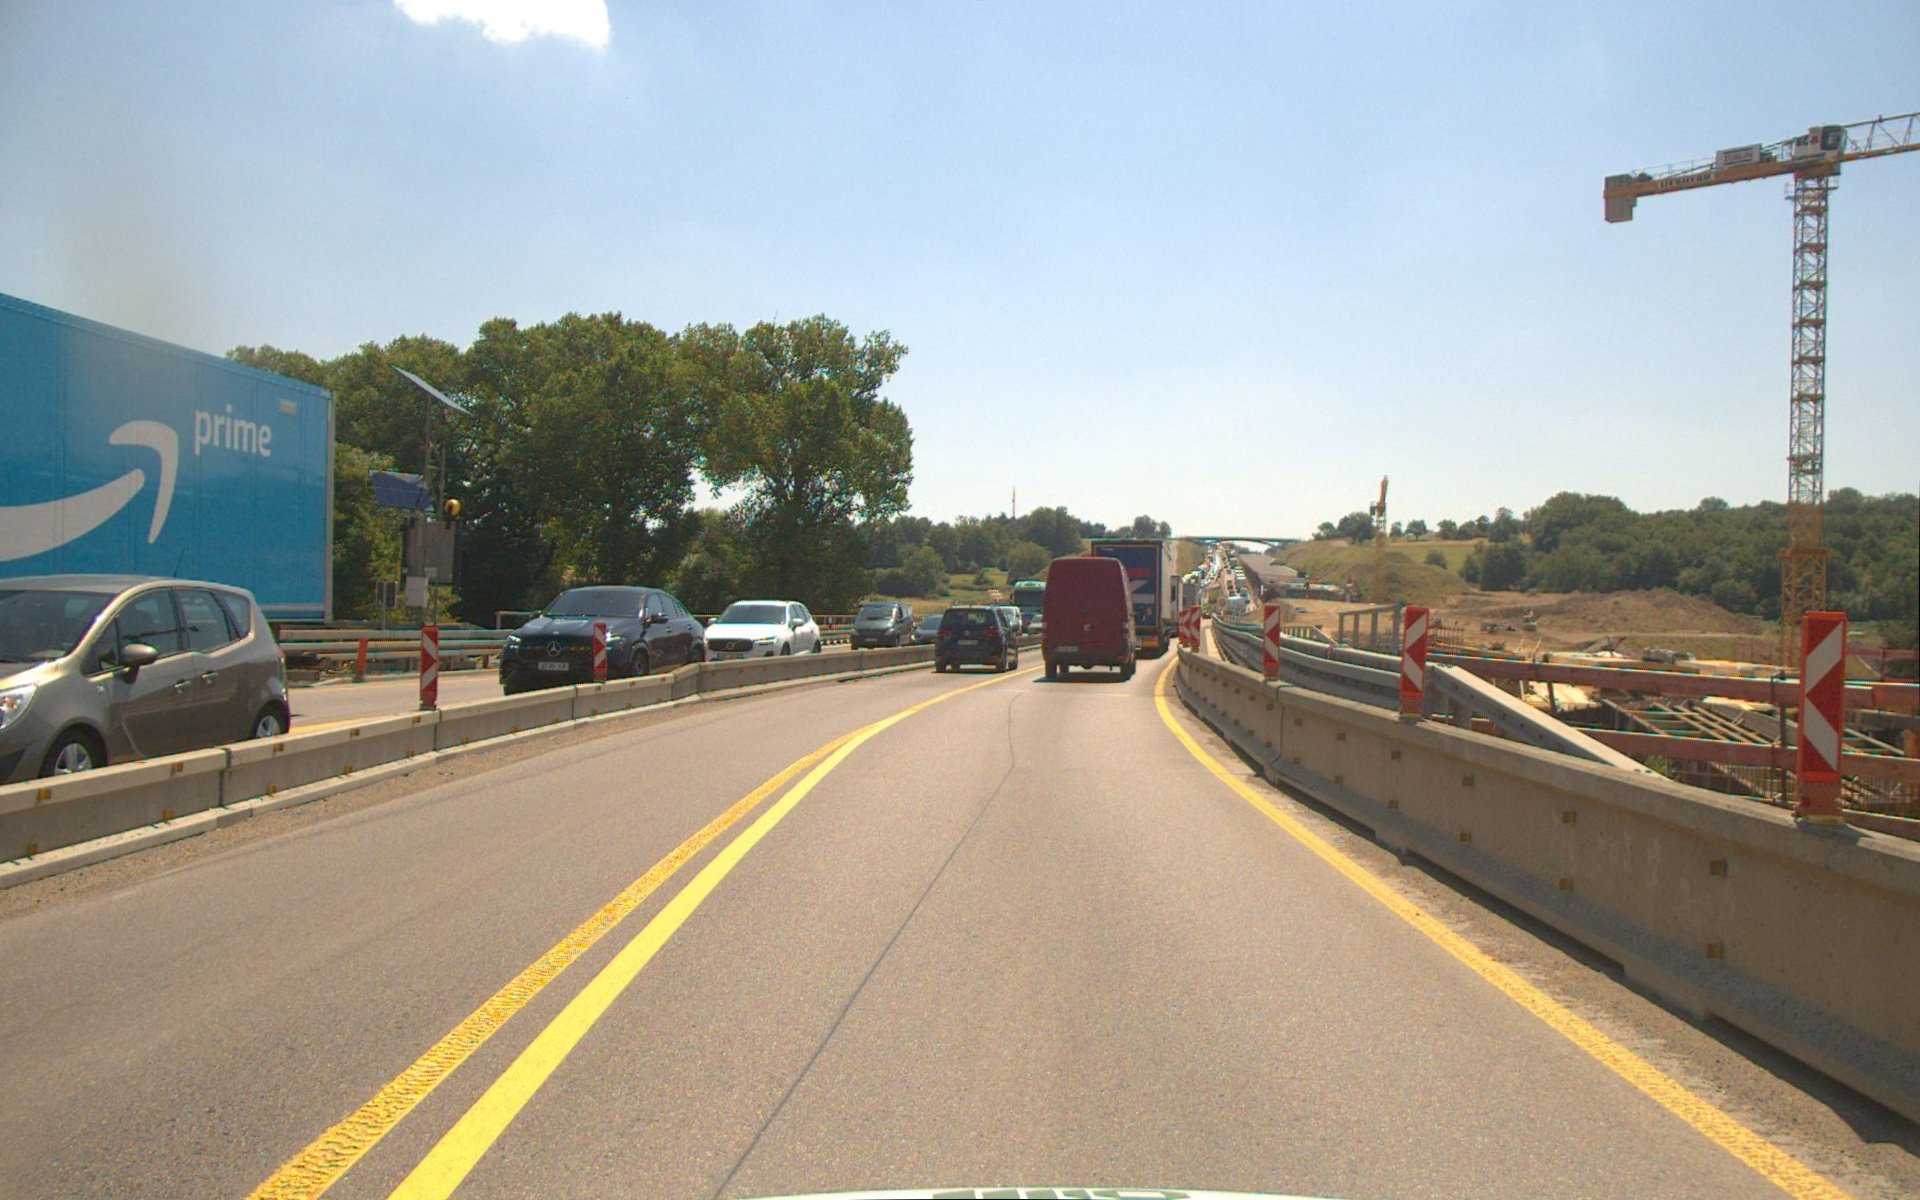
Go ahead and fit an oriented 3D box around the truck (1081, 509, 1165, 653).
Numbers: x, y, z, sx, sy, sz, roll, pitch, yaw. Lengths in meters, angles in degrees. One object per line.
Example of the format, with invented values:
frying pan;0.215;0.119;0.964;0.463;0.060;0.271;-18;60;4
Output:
truck;6.148;-0.639;61.691;2.882;5.032;6.745;1;-1;7

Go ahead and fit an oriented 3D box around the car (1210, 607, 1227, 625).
car;25.082;1.581;160.488;1.583;1.729;3.892;1;-1;8

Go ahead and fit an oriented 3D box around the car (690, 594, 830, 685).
car;-4.140;0.777;34.964;1.781;1.675;4.574;1;1;8

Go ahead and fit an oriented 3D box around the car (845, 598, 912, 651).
car;-3.210;0.969;66.047;1.782;1.977;5.067;1;-1;7

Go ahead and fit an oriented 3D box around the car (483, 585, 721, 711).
car;-5.285;0.688;25.145;1.841;1.676;4.718;1;-1;10

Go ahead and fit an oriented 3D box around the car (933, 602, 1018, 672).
car;0.461;0.933;42.360;1.697;1.664;4.392;1;-1;7

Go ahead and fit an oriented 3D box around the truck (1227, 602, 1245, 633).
truck;37.552;2.423;225.424;2.242;3.805;6.486;1;-4;8

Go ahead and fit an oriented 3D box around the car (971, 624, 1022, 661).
car;1.628;1.822;71.891;1.719;1.523;4.443;1;-1;8

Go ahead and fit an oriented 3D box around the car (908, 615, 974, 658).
car;-0.621;1.231;57.393;1.633;1.389;4.443;1;-1;8

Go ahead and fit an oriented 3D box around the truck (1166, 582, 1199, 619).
truck;22.335;0.080;165.855;3.115;3.030;8.904;1;-4;8

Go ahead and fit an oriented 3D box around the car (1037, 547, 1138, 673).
car;2.952;0.324;38.354;2.105;2.657;5.440;2;-2;4

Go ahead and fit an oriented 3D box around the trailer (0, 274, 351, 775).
trailer;-9.667;-0.689;14.657;2.592;4.368;13.314;2;-1;4

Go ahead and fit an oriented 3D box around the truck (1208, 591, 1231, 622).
truck;28.310;0.698;180.311;2.242;3.252;6.487;1;0;7

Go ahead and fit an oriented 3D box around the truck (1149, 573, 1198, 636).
truck;14.331;0.357;110.662;3.114;4.060;6.746;1;-1;9

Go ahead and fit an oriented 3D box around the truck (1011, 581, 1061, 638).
truck;5.887;0.770;125.950;2.749;4.033;12.142;1;-1;7

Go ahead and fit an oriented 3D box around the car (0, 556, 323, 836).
car;-6.298;0.561;11.574;1.782;1.612;4.302;1;-1;3
